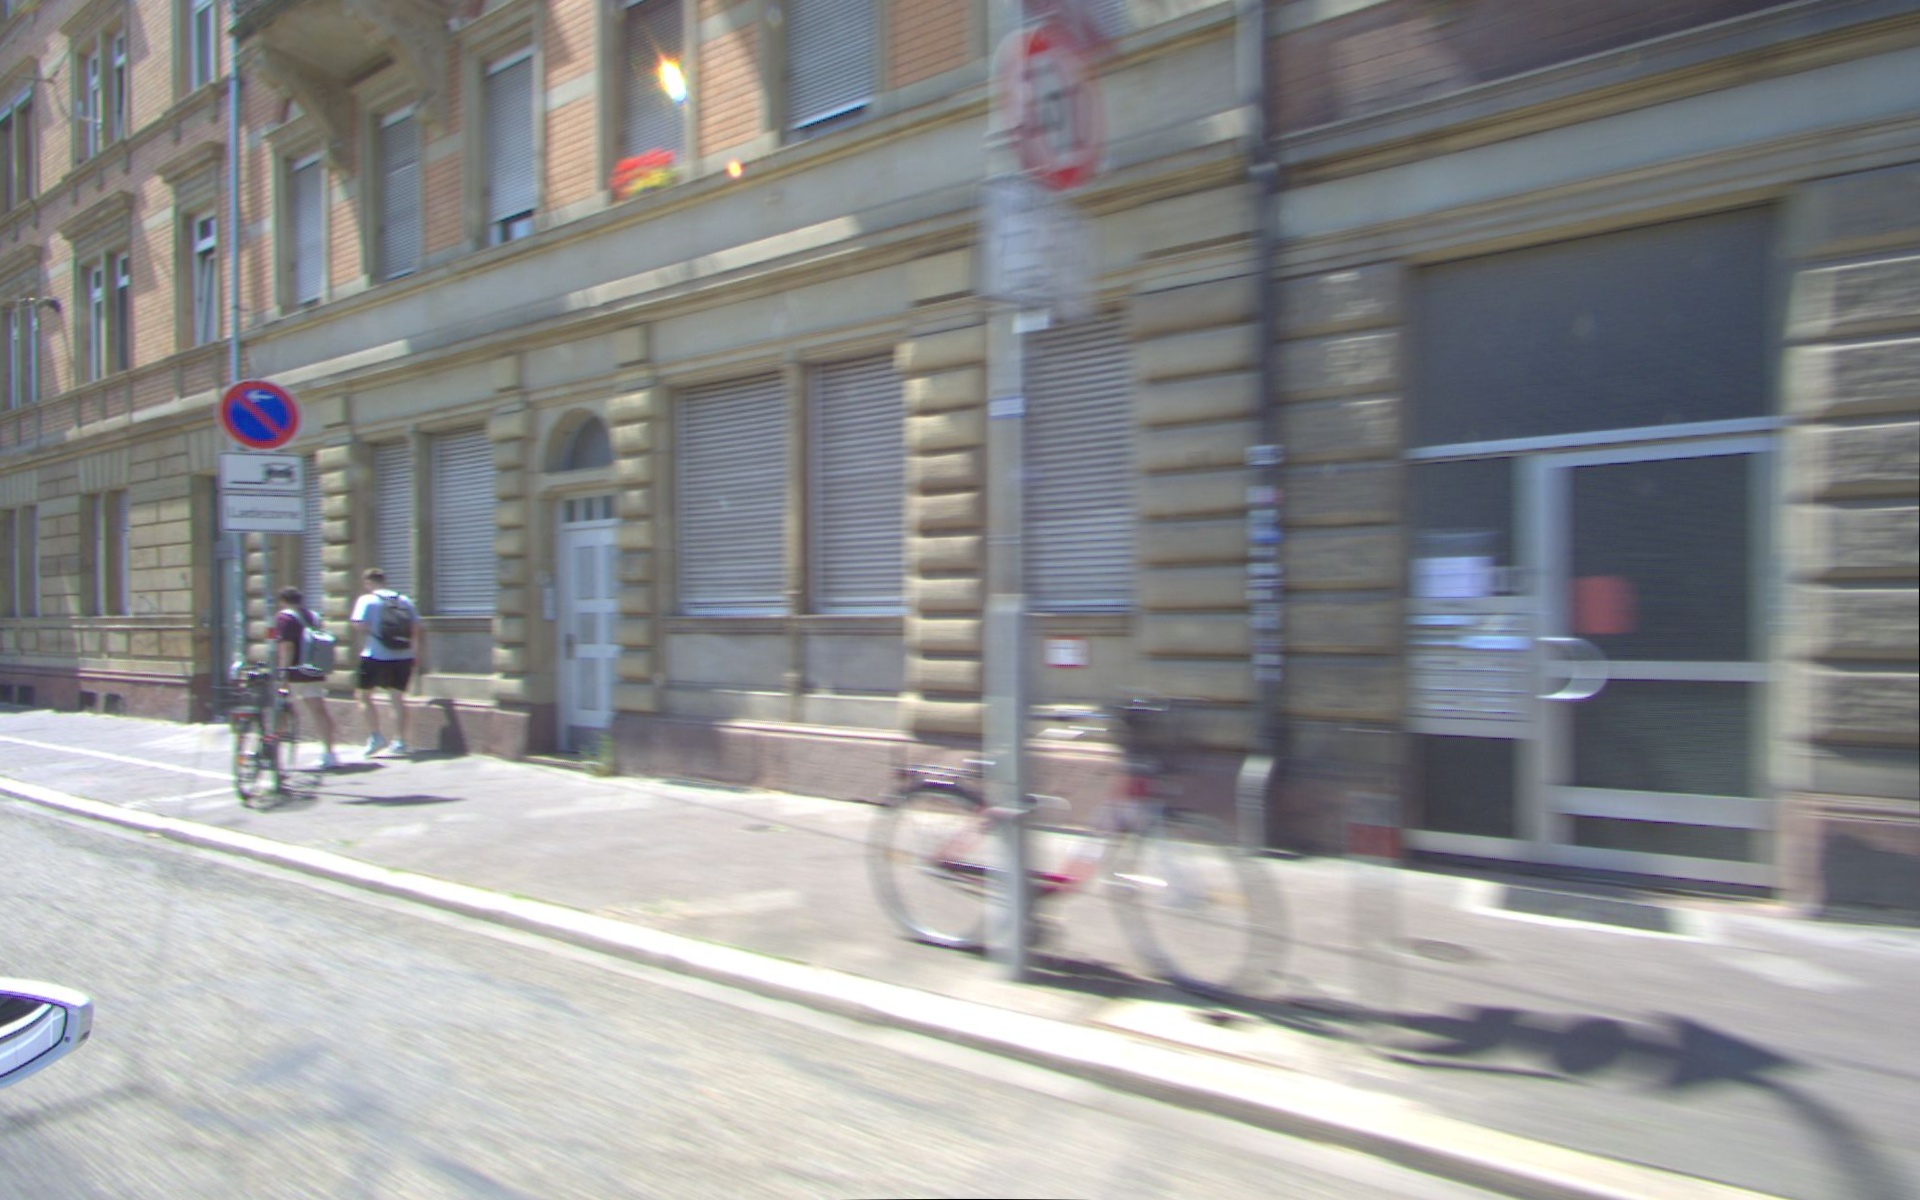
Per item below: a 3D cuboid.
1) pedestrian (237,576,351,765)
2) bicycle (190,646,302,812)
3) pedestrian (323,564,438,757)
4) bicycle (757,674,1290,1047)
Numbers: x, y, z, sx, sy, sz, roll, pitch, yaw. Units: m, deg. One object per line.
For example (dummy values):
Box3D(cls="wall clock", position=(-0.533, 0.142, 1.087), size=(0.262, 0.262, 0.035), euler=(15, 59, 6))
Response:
Box3D(cls="pedestrian", position=(-6.434, 0.654, 9.682), size=(0.634, 1.743, 0.718), euler=(0, 1, 33))
Box3D(cls="bicycle", position=(-5.980, 1.002, 8.479), size=(0.493, 1.145, 2.232), euler=(-1, 0, -29))
Box3D(cls="pedestrian", position=(-5.918, 0.593, 10.246), size=(0.634, 1.875, 0.700), euler=(0, 4, 33))
Box3D(cls="bicycle", position=(0.119, 0.920, 4.191), size=(2.392, 1.111, 0.446), euler=(-1, 0, 38))
